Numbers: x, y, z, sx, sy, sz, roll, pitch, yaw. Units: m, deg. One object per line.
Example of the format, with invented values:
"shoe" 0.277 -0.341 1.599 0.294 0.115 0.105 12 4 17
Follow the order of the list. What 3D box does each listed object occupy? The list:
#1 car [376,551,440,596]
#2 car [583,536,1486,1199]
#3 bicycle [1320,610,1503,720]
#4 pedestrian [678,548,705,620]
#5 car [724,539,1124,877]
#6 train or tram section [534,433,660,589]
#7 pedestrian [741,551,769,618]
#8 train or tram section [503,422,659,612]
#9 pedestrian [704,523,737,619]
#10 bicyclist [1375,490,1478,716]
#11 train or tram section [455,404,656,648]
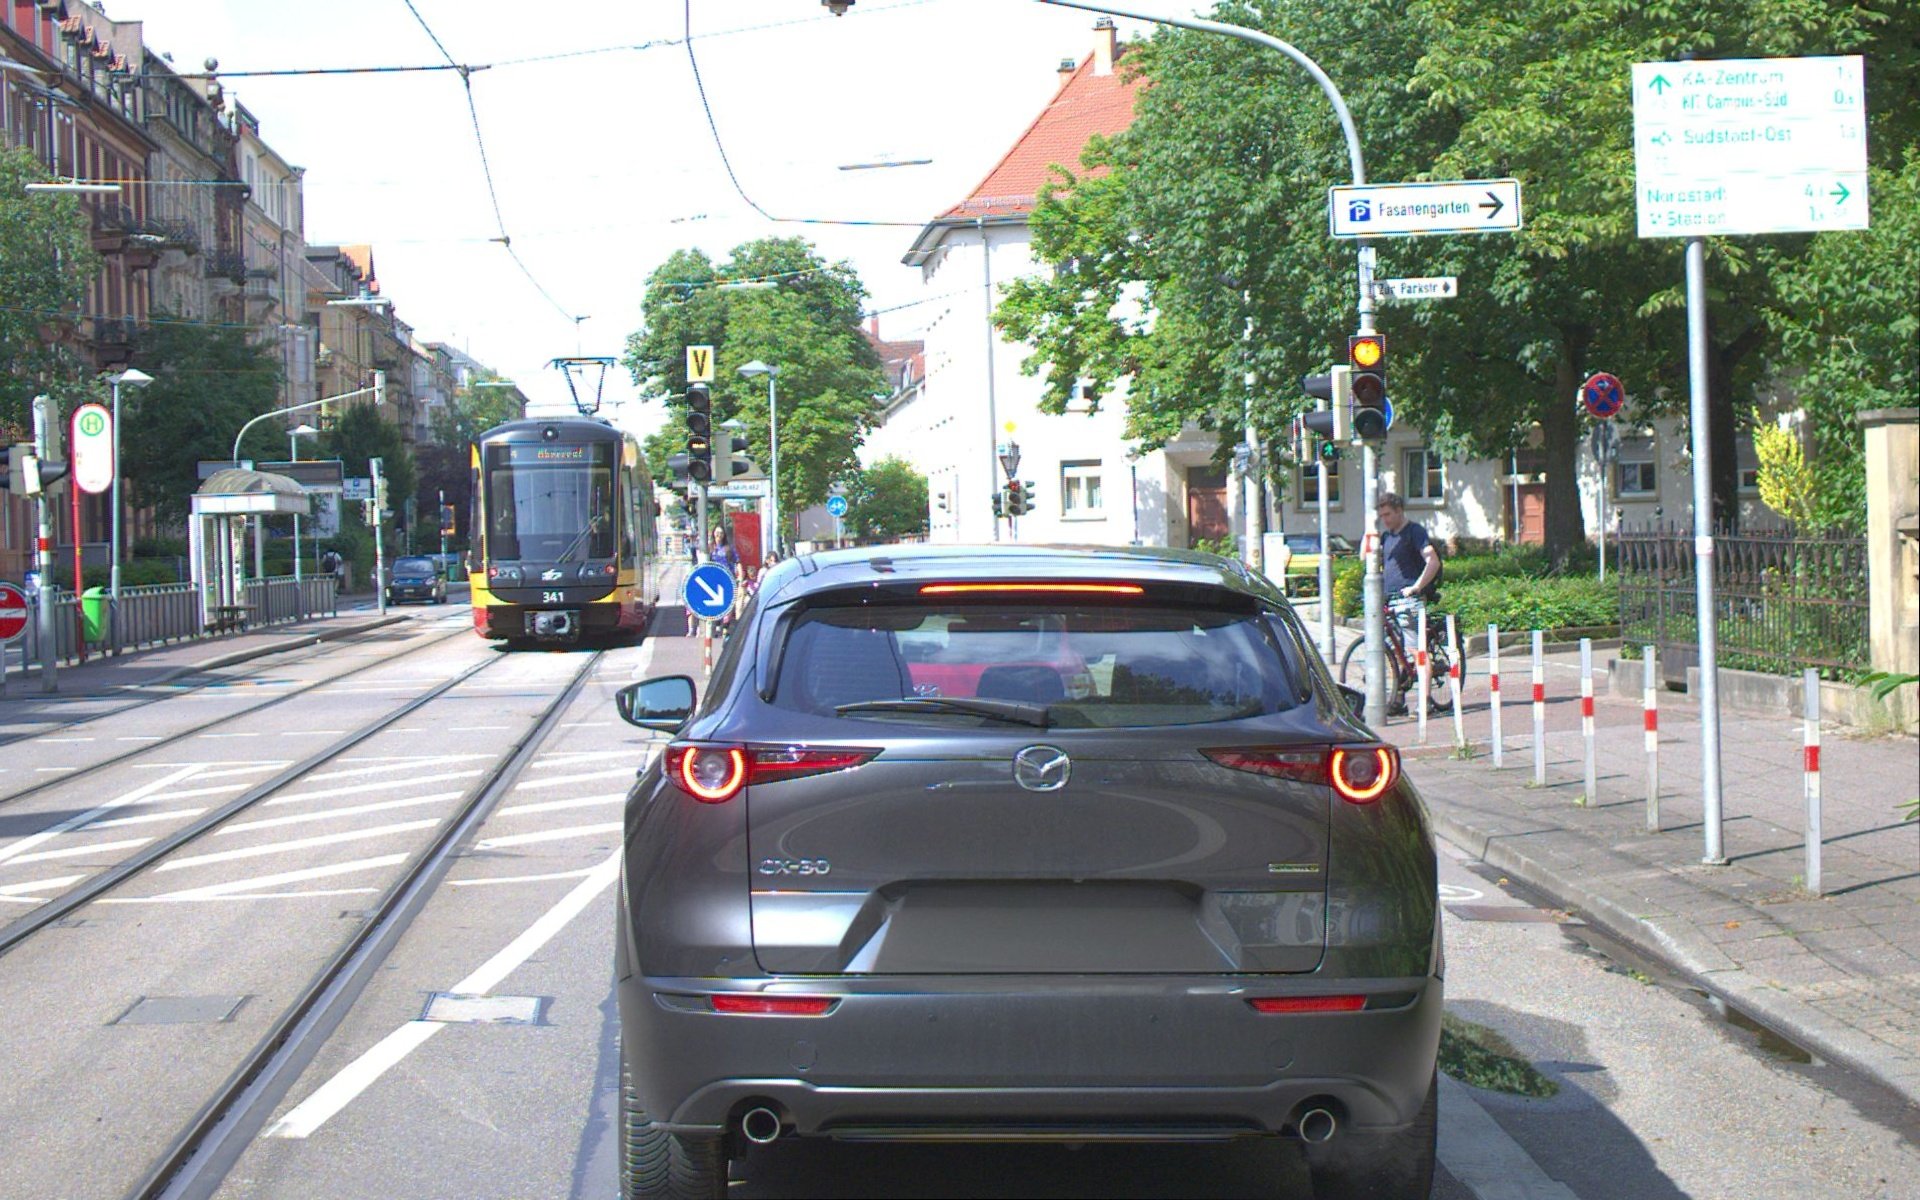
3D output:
"car" -16.810 -0.811 104.818 1.614 1.305 3.628 -1 1 -4
"car" 0.104 0.594 8.824 1.778 1.494 4.000 1 1 -1
"bicycle" 3.723 0.522 28.289 1.694 0.821 0.494 -2 1 -42
"pedestrian" -4.025 -0.238 51.515 0.379 1.067 0.474 -1 1 -5
"car" -0.203 0.452 17.429 1.778 1.494 4.000 1 1 -1
"train or tram section" -8.922 -2.277 85.752 2.752 3.478 14.411 -2 2 -5
"pedestrian" -3.073 -0.235 51.580 0.379 0.981 0.474 -1 1 -5
"train or tram section" -7.708 -1.798 71.430 2.752 3.478 14.411 -2 2 -5
"pedestrian" -3.594 -0.435 51.553 0.450 1.429 0.474 -1 1 -5
"bicyclist" 3.764 0.019 27.775 0.608 1.786 0.658 -1 1 -10
"train or tram section" -6.503 -1.318 57.098 2.752 3.478 14.411 -2 2 -5
